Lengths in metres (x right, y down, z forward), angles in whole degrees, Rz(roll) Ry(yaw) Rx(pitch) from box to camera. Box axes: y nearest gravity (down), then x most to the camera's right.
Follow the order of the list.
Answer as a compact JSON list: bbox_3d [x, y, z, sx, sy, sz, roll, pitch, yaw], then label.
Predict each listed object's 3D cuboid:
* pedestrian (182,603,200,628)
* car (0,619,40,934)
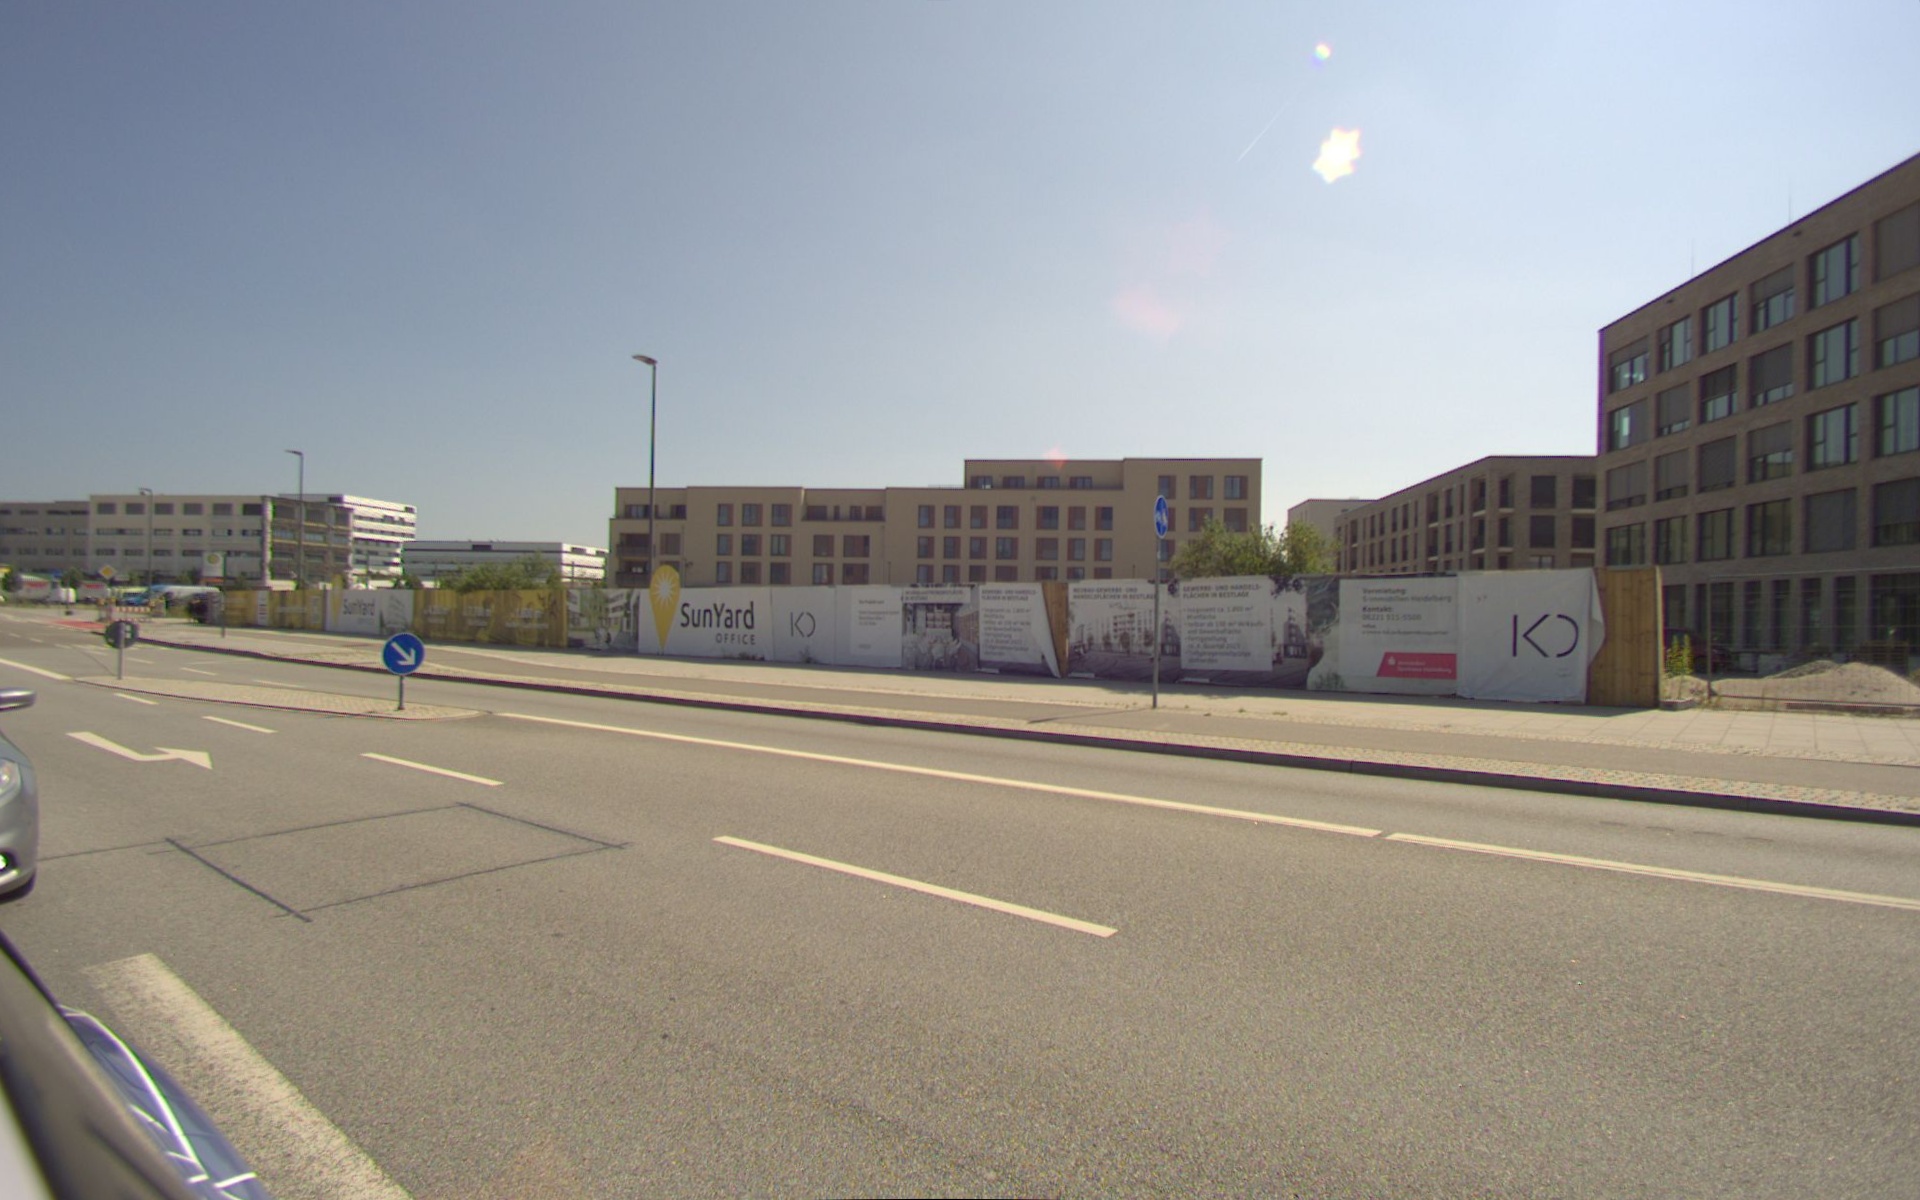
[{"bbox_3d":[-49.071,0.983,64.573,0.610,1.598,0.703,-1,0,5],"label":"pedestrian"},{"bbox_3d":[-6.301,0.812,5.286,4.134,1.390,1.762,-1,0,41],"label":"car"}]
